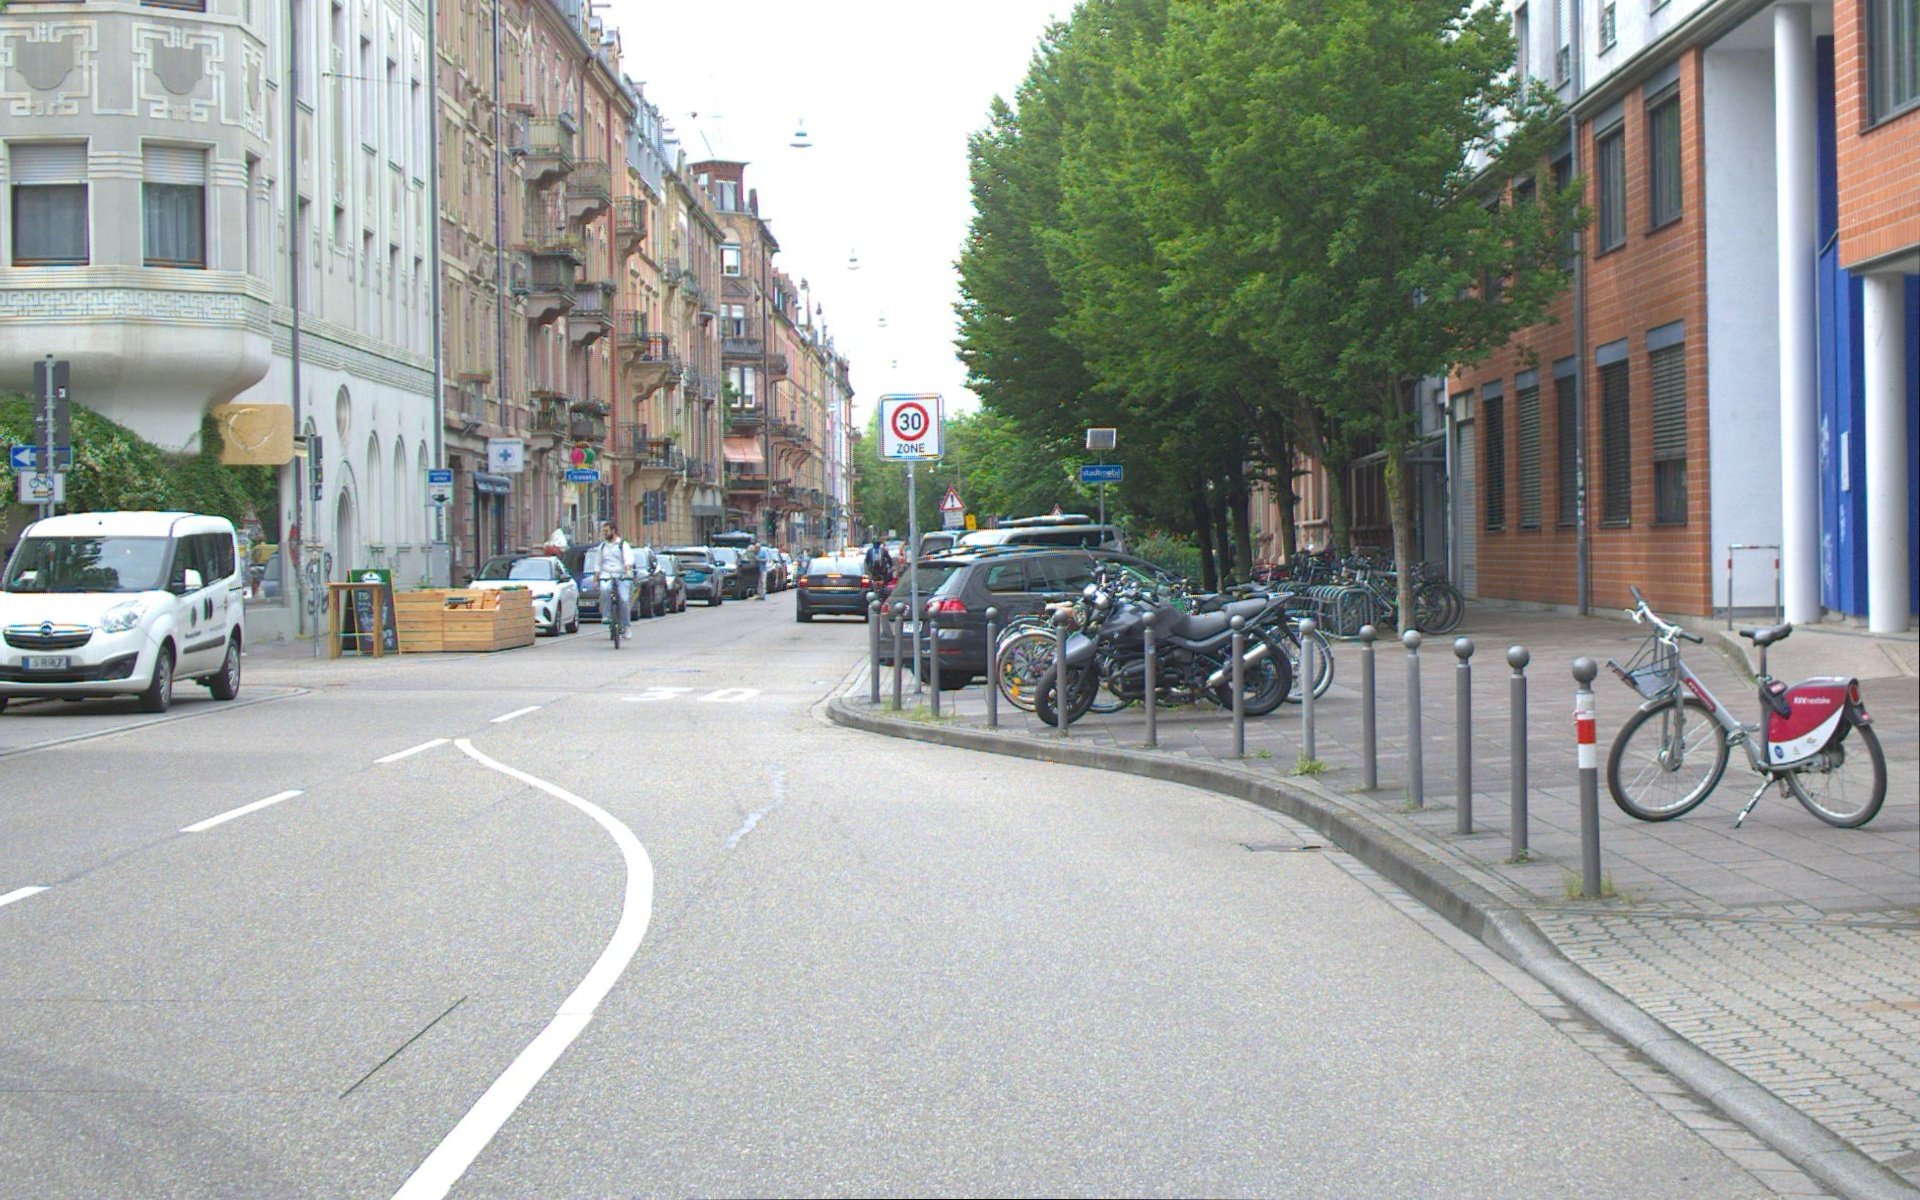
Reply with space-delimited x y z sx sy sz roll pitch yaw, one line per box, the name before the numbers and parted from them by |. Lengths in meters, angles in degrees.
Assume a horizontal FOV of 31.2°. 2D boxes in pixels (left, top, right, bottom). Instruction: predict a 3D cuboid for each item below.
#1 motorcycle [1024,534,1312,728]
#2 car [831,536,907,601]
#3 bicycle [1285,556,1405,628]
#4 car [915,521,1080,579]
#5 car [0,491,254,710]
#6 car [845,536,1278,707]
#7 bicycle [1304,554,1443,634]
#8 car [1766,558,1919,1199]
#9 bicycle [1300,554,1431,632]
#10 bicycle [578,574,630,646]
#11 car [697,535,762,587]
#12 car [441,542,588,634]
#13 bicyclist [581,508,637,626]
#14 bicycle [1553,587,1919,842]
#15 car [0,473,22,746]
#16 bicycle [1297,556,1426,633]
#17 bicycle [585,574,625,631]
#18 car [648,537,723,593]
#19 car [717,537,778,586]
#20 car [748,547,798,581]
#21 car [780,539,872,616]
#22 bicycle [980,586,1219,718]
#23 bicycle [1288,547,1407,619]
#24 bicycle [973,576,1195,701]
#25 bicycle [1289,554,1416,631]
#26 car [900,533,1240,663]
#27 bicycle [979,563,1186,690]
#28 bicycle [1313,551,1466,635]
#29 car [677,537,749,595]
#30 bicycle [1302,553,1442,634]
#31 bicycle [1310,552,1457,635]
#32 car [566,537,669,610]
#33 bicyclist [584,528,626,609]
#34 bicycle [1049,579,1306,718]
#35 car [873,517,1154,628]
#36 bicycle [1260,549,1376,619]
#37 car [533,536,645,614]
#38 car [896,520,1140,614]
motorcycle | 1.606 0.241 26.783 2.133 1.425 0.771 -2 0 -3
car | -2.429 -0.822 92.491 1.993 1.675 4.000 0 0 -1
bicycle | 5.857 -0.121 52.298 1.752 1.088 0.565 0 0 0
car | 1.315 -1.727 118.318 5.386 1.861 1.950 -2 1 -29
car | -8.160 -0.042 32.648 1.843 1.933 4.548 0 1 2
car | 1.112 0.205 36.840 4.274 1.573 1.863 -3 1 -33
bicycle | 5.700 -0.082 47.427 1.836 1.088 0.565 0 0 0
car | 3.879 0.541 6.765 4.246 1.473 1.685 -4 2 -24
bicycle | 5.666 -0.096 48.057 1.752 1.088 0.565 0 0 0
bicycle | -5.597 0.143 54.113 0.567 1.084 1.986 0 1 2
car | -7.885 -1.336 117.763 1.944 1.738 3.943 0 0 0
car | -7.964 -0.224 61.767 1.944 1.548 3.817 -2 0 3
bicyclist | -5.545 -0.524 54.395 0.782 1.860 0.714 0 1 2
bicycle | 3.698 0.512 16.018 0.728 1.100 1.736 -3 1 -41
car | -8.056 0.108 23.270 2.013 2.007 5.183 0 1 0
bicycle | 5.698 -0.081 48.840 1.752 1.088 0.565 0 0 0
bicycle | -6.156 0.055 59.654 0.535 0.974 1.865 0 0 -1
car | -8.119 -1.046 102.069 1.944 1.611 3.943 0 0 -1
car | -7.669 -1.388 124.560 1.944 1.732 3.943 0 1 0
car | -7.587 -1.466 139.495 1.993 1.317 4.000 0 0 -3
car | -2.991 -0.479 77.253 1.993 1.675 4.000 0 0 -1
bicycle | 1.161 0.434 28.845 1.929 1.040 0.612 -2 0 -3
bicycle | 5.958 -0.259 52.906 1.752 1.088 0.565 0 0 0
bicycle | 1.089 0.340 30.442 1.883 1.040 0.612 -2 0 -3
bicycle | 5.641 -0.108 49.446 1.752 1.088 0.565 0 0 0
car | 1.459 -0.032 45.253 4.047 1.579 1.903 -2 0 -31
bicycle | 1.155 0.249 32.672 1.883 1.137 0.612 -2 0 -3
bicycle | 5.648 -0.089 45.217 1.933 1.088 0.577 0 0 0
car | -7.663 -1.055 106.954 1.944 1.736 3.943 0 0 0
bicycle | 5.584 -0.081 46.633 1.836 1.088 0.543 0 0 0
bicycle | 5.642 -0.086 45.824 1.895 1.088 0.543 0 0 0
car | -7.831 -0.604 78.867 1.944 1.611 3.943 0 0 0
bicyclist | -6.161 -0.537 59.681 0.668 1.394 0.783 0 0 -3
bicycle | 1.764 0.393 28.057 2.009 1.059 0.612 -2 0 -3
car | 1.125 -0.567 70.442 5.607 2.120 1.950 -2 1 -34
bicycle | 5.607 -0.253 53.929 1.752 1.088 0.565 0 0 0
car | -7.886 -0.534 73.394 1.944 1.611 3.943 0 0 0
car | 1.347 -0.760 78.539 5.387 1.985 1.950 -2 1 -34
